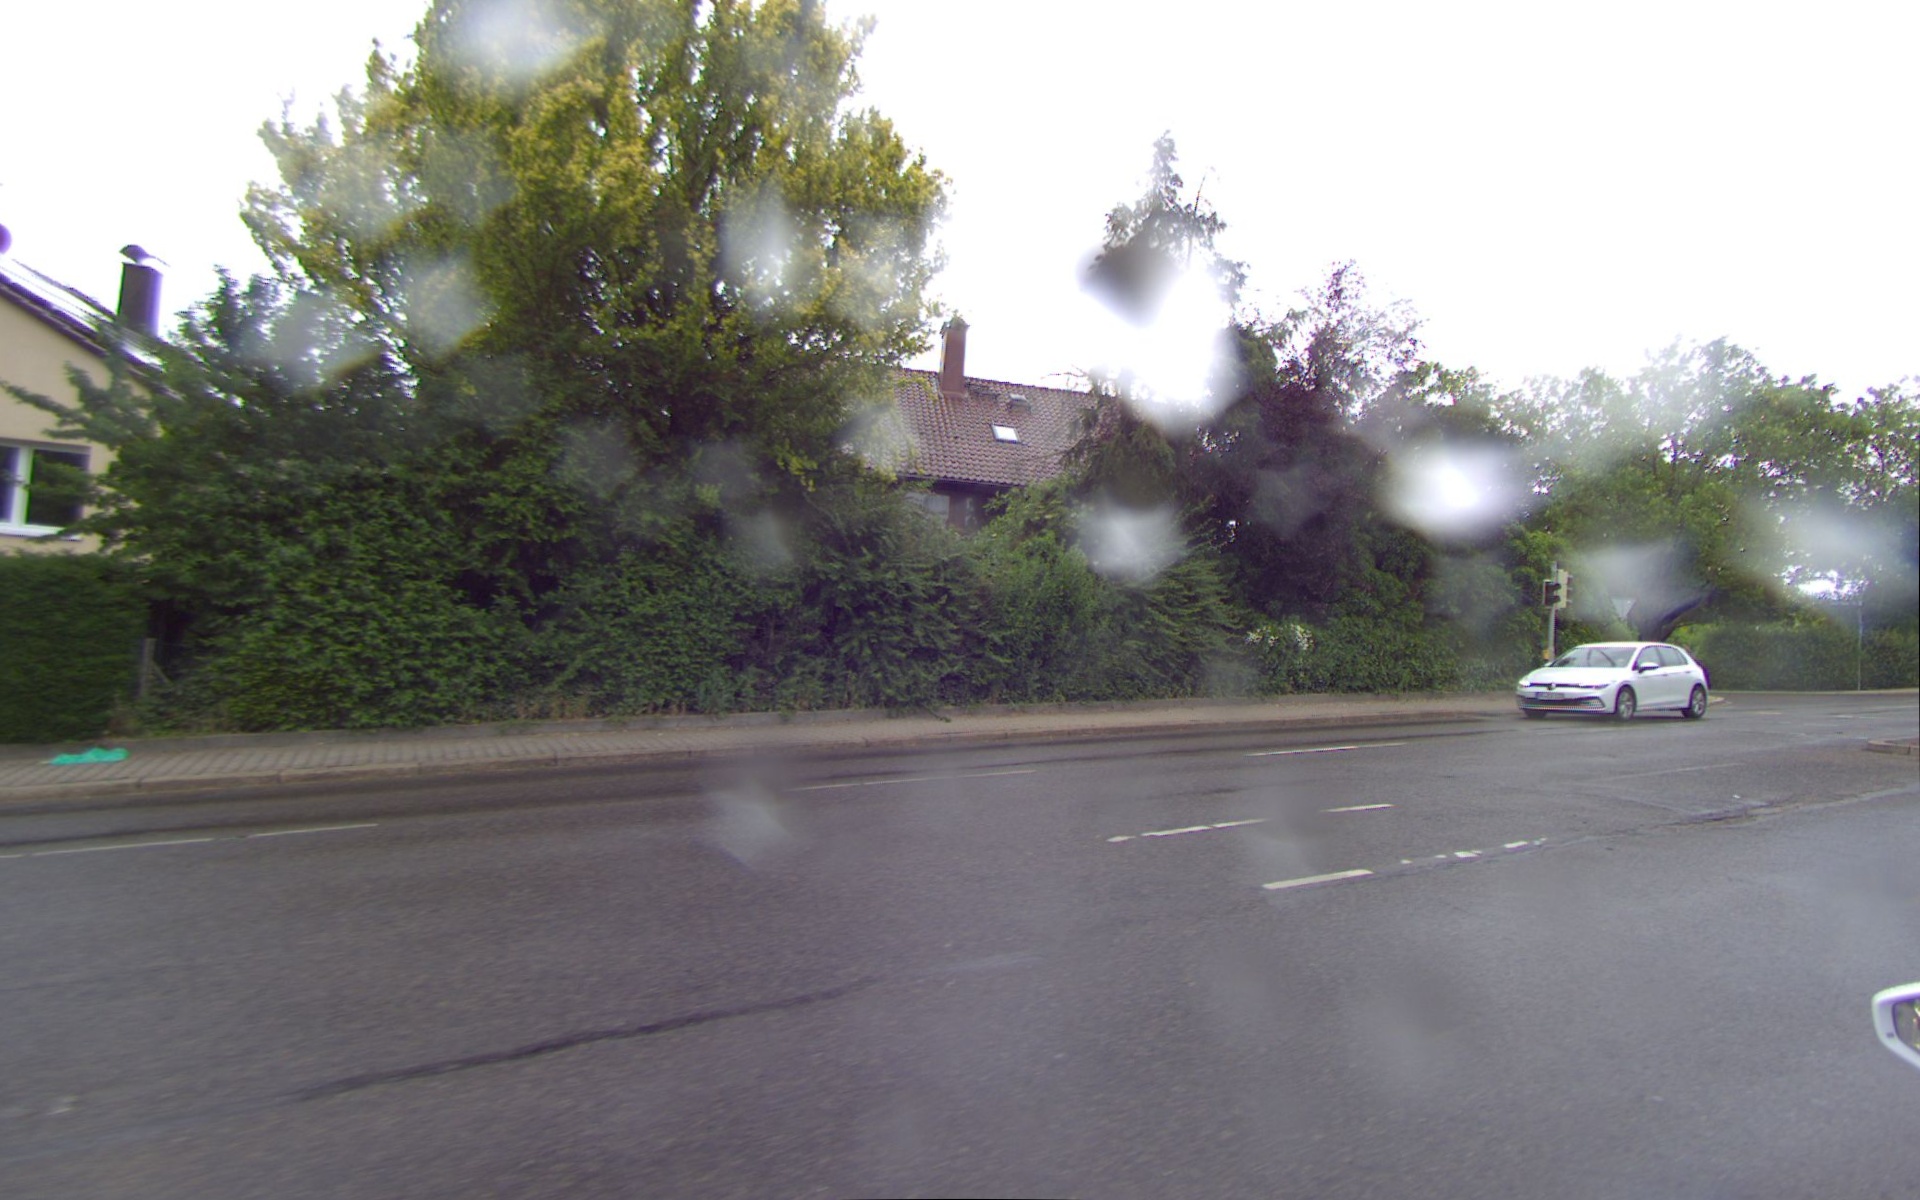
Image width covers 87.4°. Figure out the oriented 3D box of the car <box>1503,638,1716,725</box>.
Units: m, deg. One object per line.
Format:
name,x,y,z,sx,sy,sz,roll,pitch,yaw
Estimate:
car,12.439,1.487,19.196,4.107,1.504,1.720,1,-3,-30
